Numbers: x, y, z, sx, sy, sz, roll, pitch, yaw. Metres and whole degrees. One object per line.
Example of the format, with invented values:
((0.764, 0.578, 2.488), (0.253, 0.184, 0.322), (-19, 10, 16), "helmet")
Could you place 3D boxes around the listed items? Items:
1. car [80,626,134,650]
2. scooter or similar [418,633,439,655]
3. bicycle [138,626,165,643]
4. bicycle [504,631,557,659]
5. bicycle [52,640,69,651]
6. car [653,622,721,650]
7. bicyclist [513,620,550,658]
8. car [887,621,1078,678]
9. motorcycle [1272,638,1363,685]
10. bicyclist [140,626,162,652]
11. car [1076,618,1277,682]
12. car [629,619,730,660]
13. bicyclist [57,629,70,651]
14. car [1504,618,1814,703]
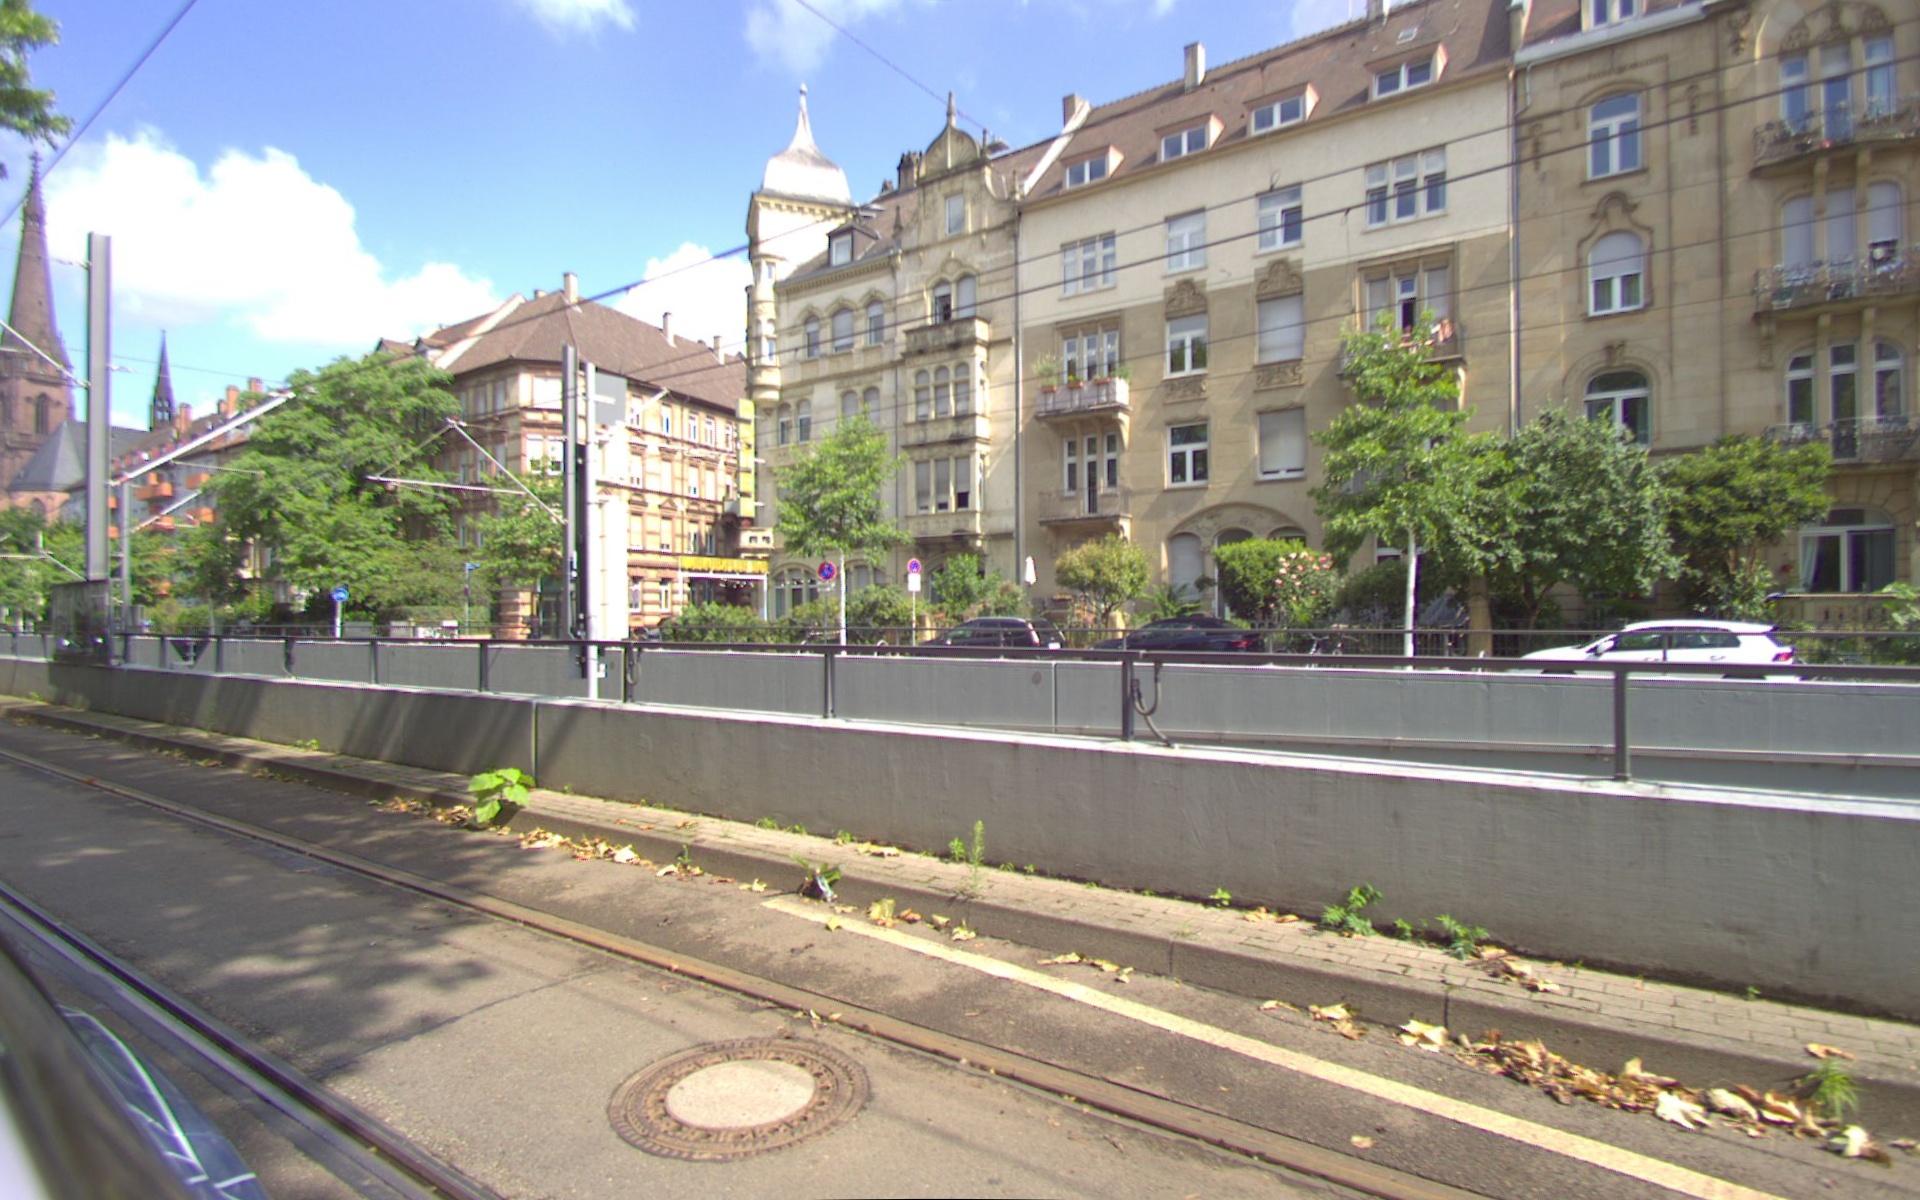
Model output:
((-60.125, 2.667, 71.294), (4.106, 1.650, 1.976), (-2, -2, 36), "car")
((-27.016, 2.249, 51.415), (1.285, 1.090, 0.373), (-2, 1, 36), "scooter or similar")
((-47.229, 2.019, 59.098), (1.895, 1.003, 0.719), (-2, -3, 36), "bicycle")
((-15.364, 1.602, 36.201), (2.137, 0.986, 0.768), (-1, -3, 37), "bicycle")
((-62.237, 3.145, 70.049), (1.813, 0.774, 0.491), (-1, -2, 36), "bicycle")
((-16.267, 2.128, 60.512), (1.913, 1.547, 3.969), (0, -1, 23), "car")
((-15.327, 1.400, 36.193), (1.047, 1.348, 0.760), (-2, -3, 37), "bicyclist")
((0.522, 1.241, 26.288), (4.717, 1.337, 1.931), (-2, -2, 37), "car")
((7.556, 1.281, 21.342), (1.414, 0.949, 1.745), (-1, -3, 35), "motorcycle")
((-47.272, 2.284, 59.153), (0.976, 1.490, 0.732), (-2, -3, 36), "bicyclist")
((4.943, 1.105, 23.260), (4.090, 1.337, 2.003), (-2, -2, 34), "car")
((-11.778, 1.618, 42.723), (2.026, 1.618, 3.926), (-1, -1, 27), "car")
((-62.206, 2.758, 70.225), (0.606, 1.556, 0.499), (-1, -2, 36), "bicyclist")
((12.148, 1.007, 17.886), (4.302, 1.338, 1.737), (-1, -2, 35), "car")
